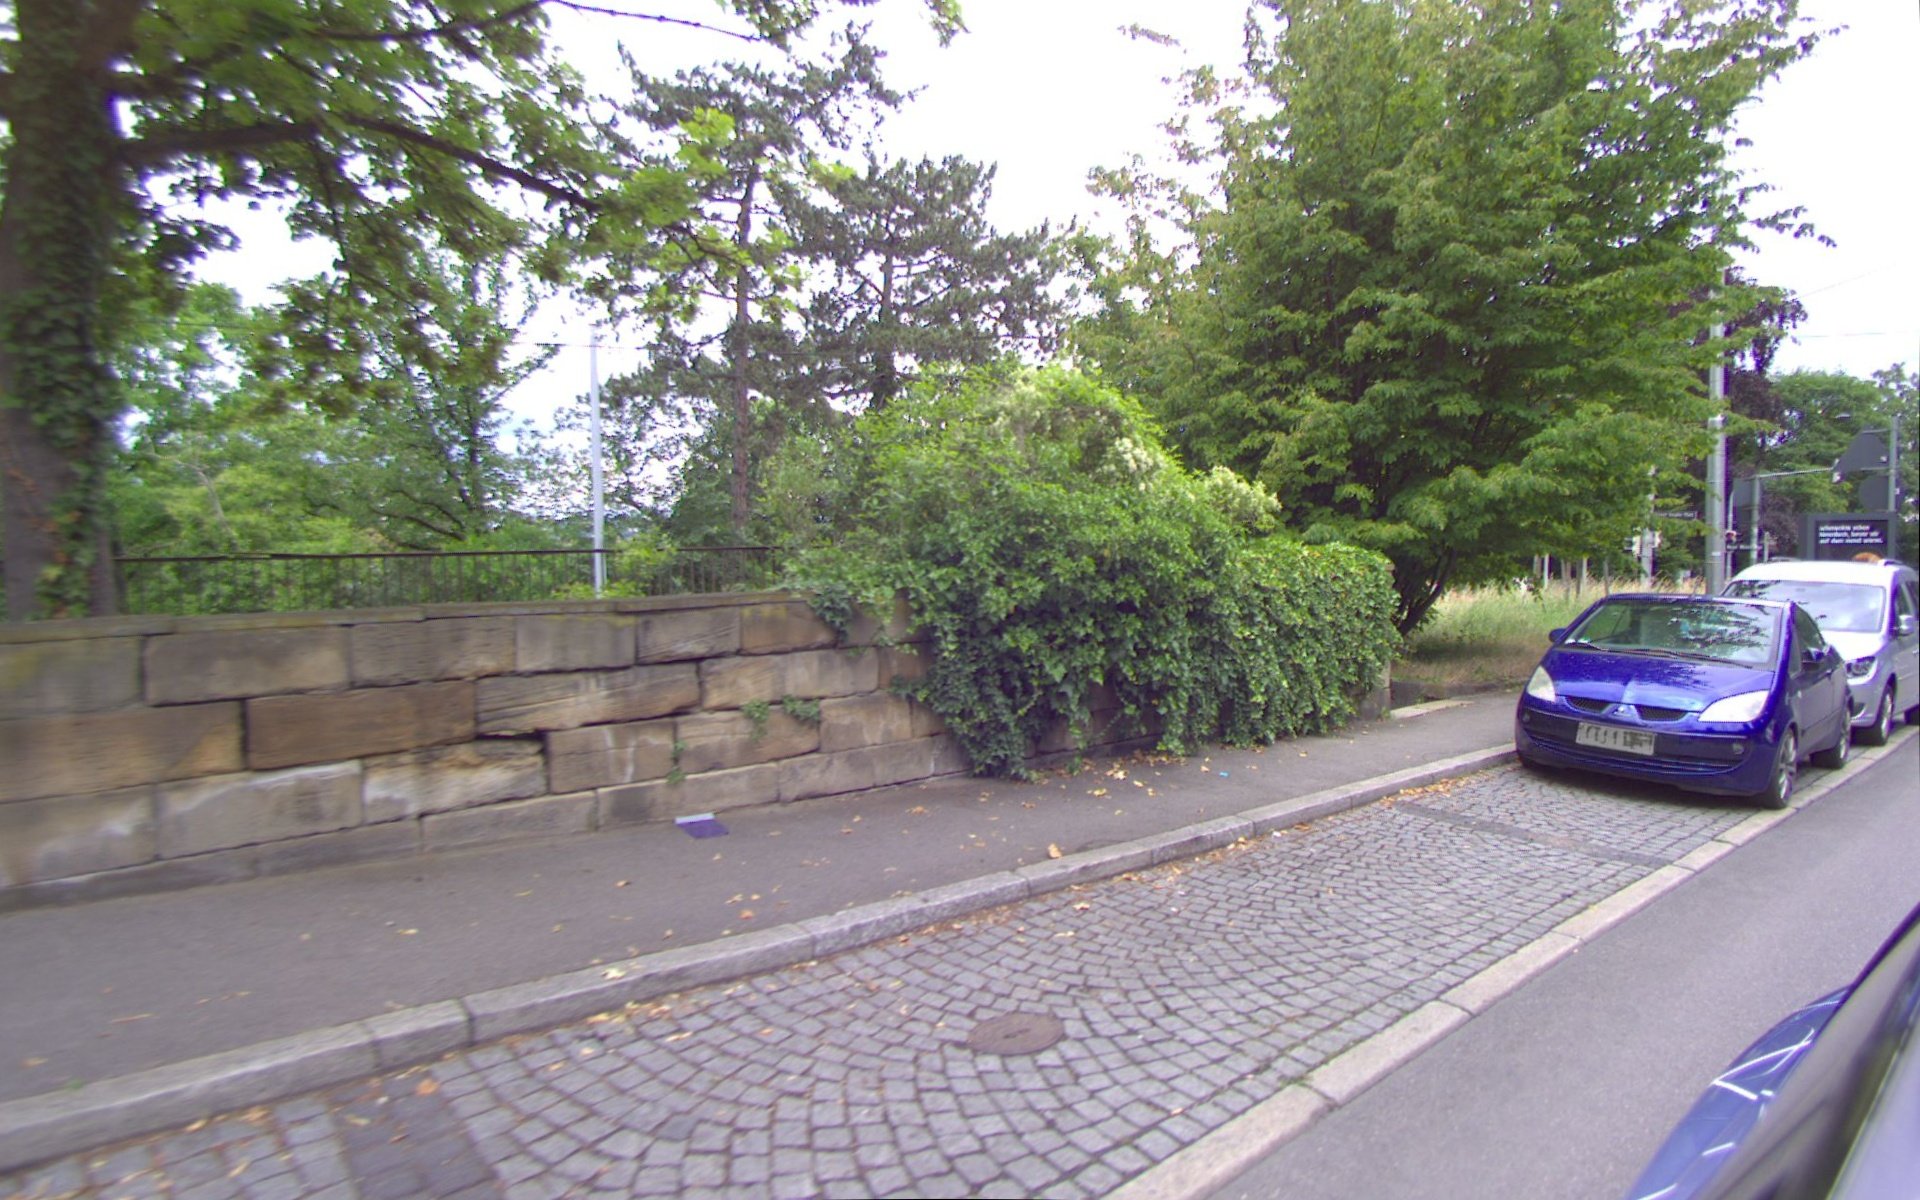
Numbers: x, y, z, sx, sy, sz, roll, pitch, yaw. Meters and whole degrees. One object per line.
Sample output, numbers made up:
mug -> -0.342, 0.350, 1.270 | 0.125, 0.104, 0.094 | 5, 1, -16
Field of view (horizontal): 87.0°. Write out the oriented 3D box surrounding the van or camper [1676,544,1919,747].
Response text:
van or camper -> 9.684, 0.361, 11.306 | 4.167, 1.868, 1.703 | -1, 2, -39

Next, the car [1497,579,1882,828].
car -> 5.961, 0.602, 8.102 | 3.873, 1.477, 1.601 | -1, 3, -41
